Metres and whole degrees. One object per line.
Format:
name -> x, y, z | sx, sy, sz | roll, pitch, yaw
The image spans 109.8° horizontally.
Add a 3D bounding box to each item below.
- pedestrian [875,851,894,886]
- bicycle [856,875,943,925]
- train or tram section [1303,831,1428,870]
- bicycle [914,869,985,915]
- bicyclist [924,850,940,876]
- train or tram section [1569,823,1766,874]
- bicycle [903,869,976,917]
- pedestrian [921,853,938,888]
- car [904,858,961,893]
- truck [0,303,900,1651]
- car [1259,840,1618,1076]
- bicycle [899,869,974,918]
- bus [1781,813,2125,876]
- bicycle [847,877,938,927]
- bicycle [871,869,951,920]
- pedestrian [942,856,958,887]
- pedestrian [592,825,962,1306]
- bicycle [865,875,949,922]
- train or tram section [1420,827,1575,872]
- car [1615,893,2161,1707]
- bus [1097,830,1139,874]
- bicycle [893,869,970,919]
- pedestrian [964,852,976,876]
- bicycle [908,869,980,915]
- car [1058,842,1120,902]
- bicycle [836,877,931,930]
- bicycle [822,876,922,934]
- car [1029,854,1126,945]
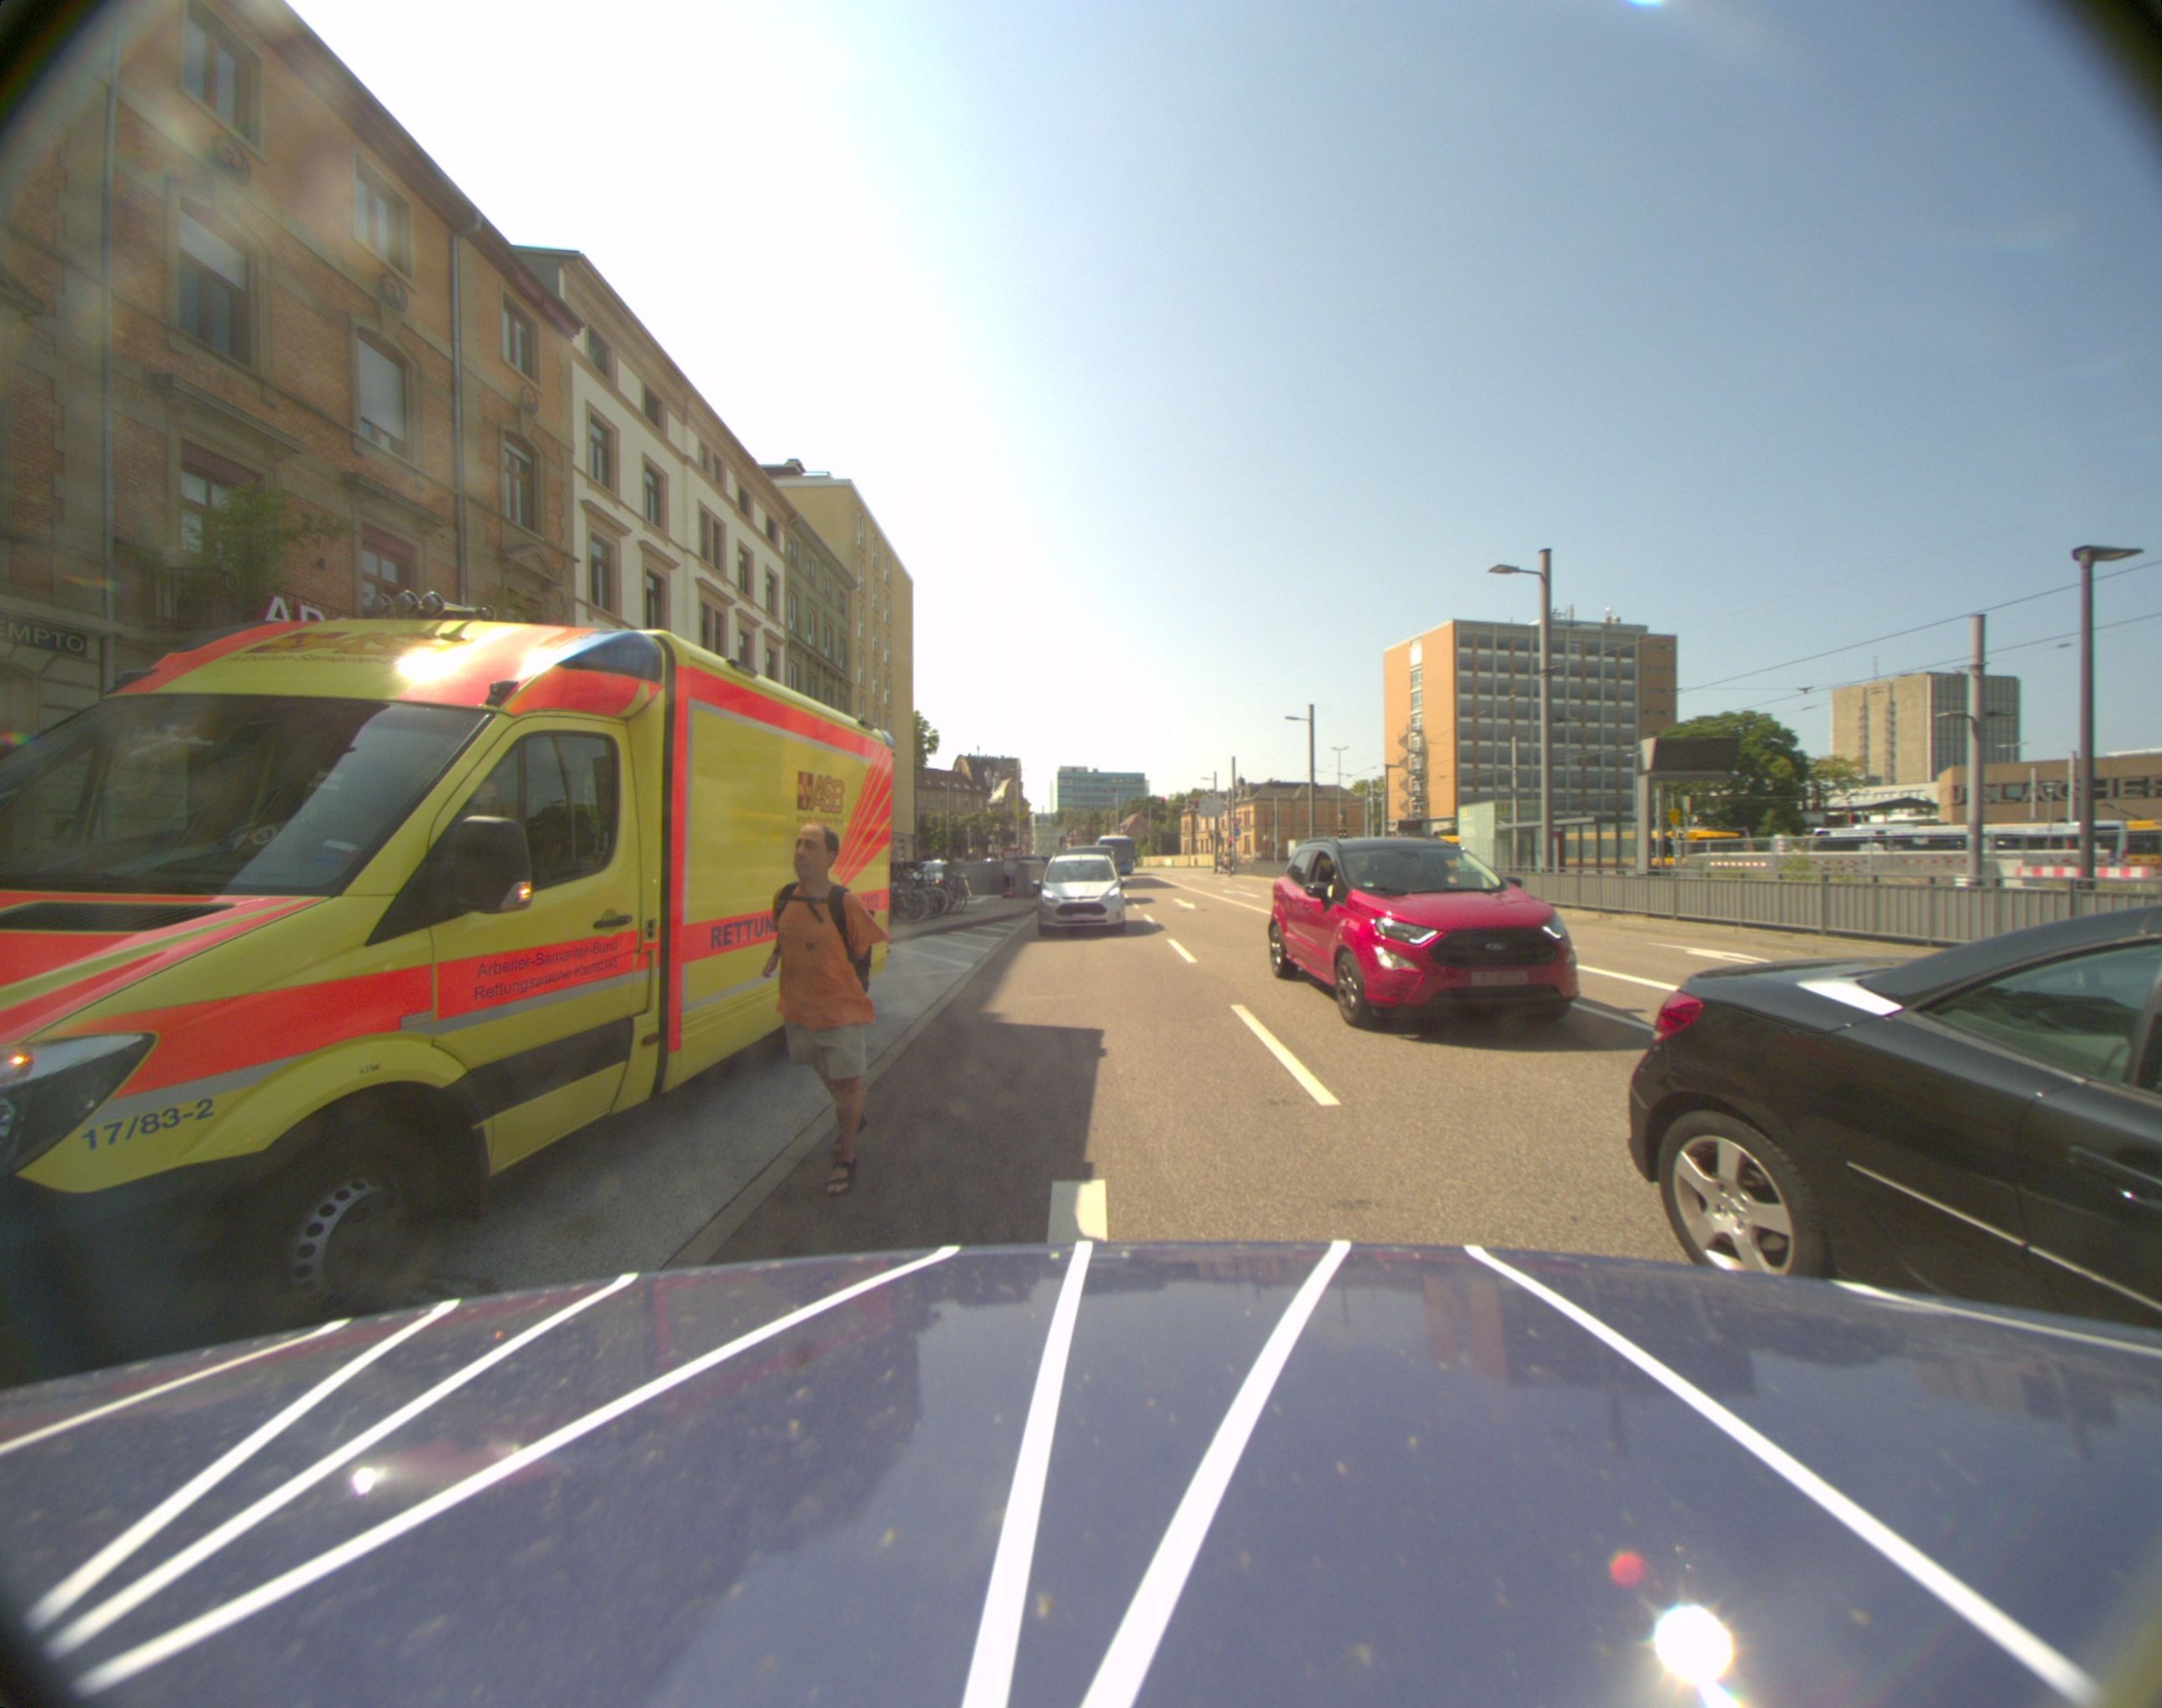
pedestrian -> -9.887, 0.714, 38.279 | 0.772, 1.724, 0.881 | 1, 1, -2
bicycle -> -4.219, 1.064, 17.732 | 1.842, 1.054, 0.657 | -2, 1, 1
train or tram section -> 29.008, -0.344, 78.238 | 12.331, 3.743, 2.004 | 0, 0, 44
bicycle -> -3.695, 1.058, 21.422 | 1.841, 1.196, 0.637 | -2, 1, 1
bicyclist -> -8.982, 0.533, 45.740 | 0.721, 1.577, 1.103 | -1, 0, 1
train or tram section -> 46.622, -0.397, 60.974 | 12.331, 3.743, 2.004 | 0, 0, 44
bicycle -> -3.774, 1.050, 20.343 | 1.842, 1.212, 0.434 | -2, 1, 1
pedestrian -> -7.673, 0.851, 38.556 | 0.689, 1.748, 0.796 | 1, 1, -2
car -> -6.650, 0.946, 34.367 | 1.666, 1.418, 3.934 | 2, 0, 1
truck -> -3.186, 0.223, 4.378 | 2.333, 2.754, 6.339 | 2, 1, 4
car -> 2.968, 0.719, 7.302 | 1.634, 1.611, 3.968 | -2, 0, 1
bicycle -> -3.782, 1.034, 19.882 | 1.842, 1.196, 0.434 | -2, 1, 1
bus -> 51.688, -0.414, 46.131 | 13.371, 3.275, 3.357 | -2, 1, 45
bicycle -> -4.222, 1.068, 17.066 | 1.842, 1.047, 0.657 | -2, 1, 1
bicycle -> -4.254, 1.008, 19.041 | 1.842, 1.196, 0.549 | -2, 1, 1
pedestrian -> -7.014, 0.916, 40.640 | 0.645, 1.619, 0.797 | 1, 1, 3
pedestrian -> -1.233, 0.772, 3.411 | 0.965, 1.731, 1.240 | -2, 1, 10
bicycle -> -4.195, 1.065, 18.423 | 1.842, 1.050, 0.657 | -2, 1, 1
train or tram section -> 37.814, -0.372, 69.609 | 12.331, 3.743, 2.004 | 0, 0, 44
car -> 2.780, 0.874, 0.835 | 1.692, 1.405, 3.801 | -2, 0, 0
bus -> 2.912, -0.183, 62.800 | 2.919, 3.119, 12.344 | -2, 0, 1
bicycle -> -3.805, 1.012, 19.445 | 1.842, 1.196, 0.434 | -2, 1, 1
pedestrian -> -7.592, 0.669, 51.811 | 0.645, 1.619, 0.797 | 1, 1, 3
bicycle -> -3.751, 1.042, 20.822 | 1.842, 1.196, 0.434 | -2, 1, 1
car -> 0.297, 0.594, 27.726 | 1.998, 1.953, 4.815 | -2, 0, 1
bicycle -> -4.230, 1.057, 16.368 | 1.842, 1.054, 0.657 | -2, 1, 1
bicycle -> -4.240, 1.025, 15.493 | 1.807, 1.069, 0.699 | -2, 1, 0
car -> -0.039, 0.840, 15.986 | 1.728, 1.579, 4.000 | -3, 0, 1
